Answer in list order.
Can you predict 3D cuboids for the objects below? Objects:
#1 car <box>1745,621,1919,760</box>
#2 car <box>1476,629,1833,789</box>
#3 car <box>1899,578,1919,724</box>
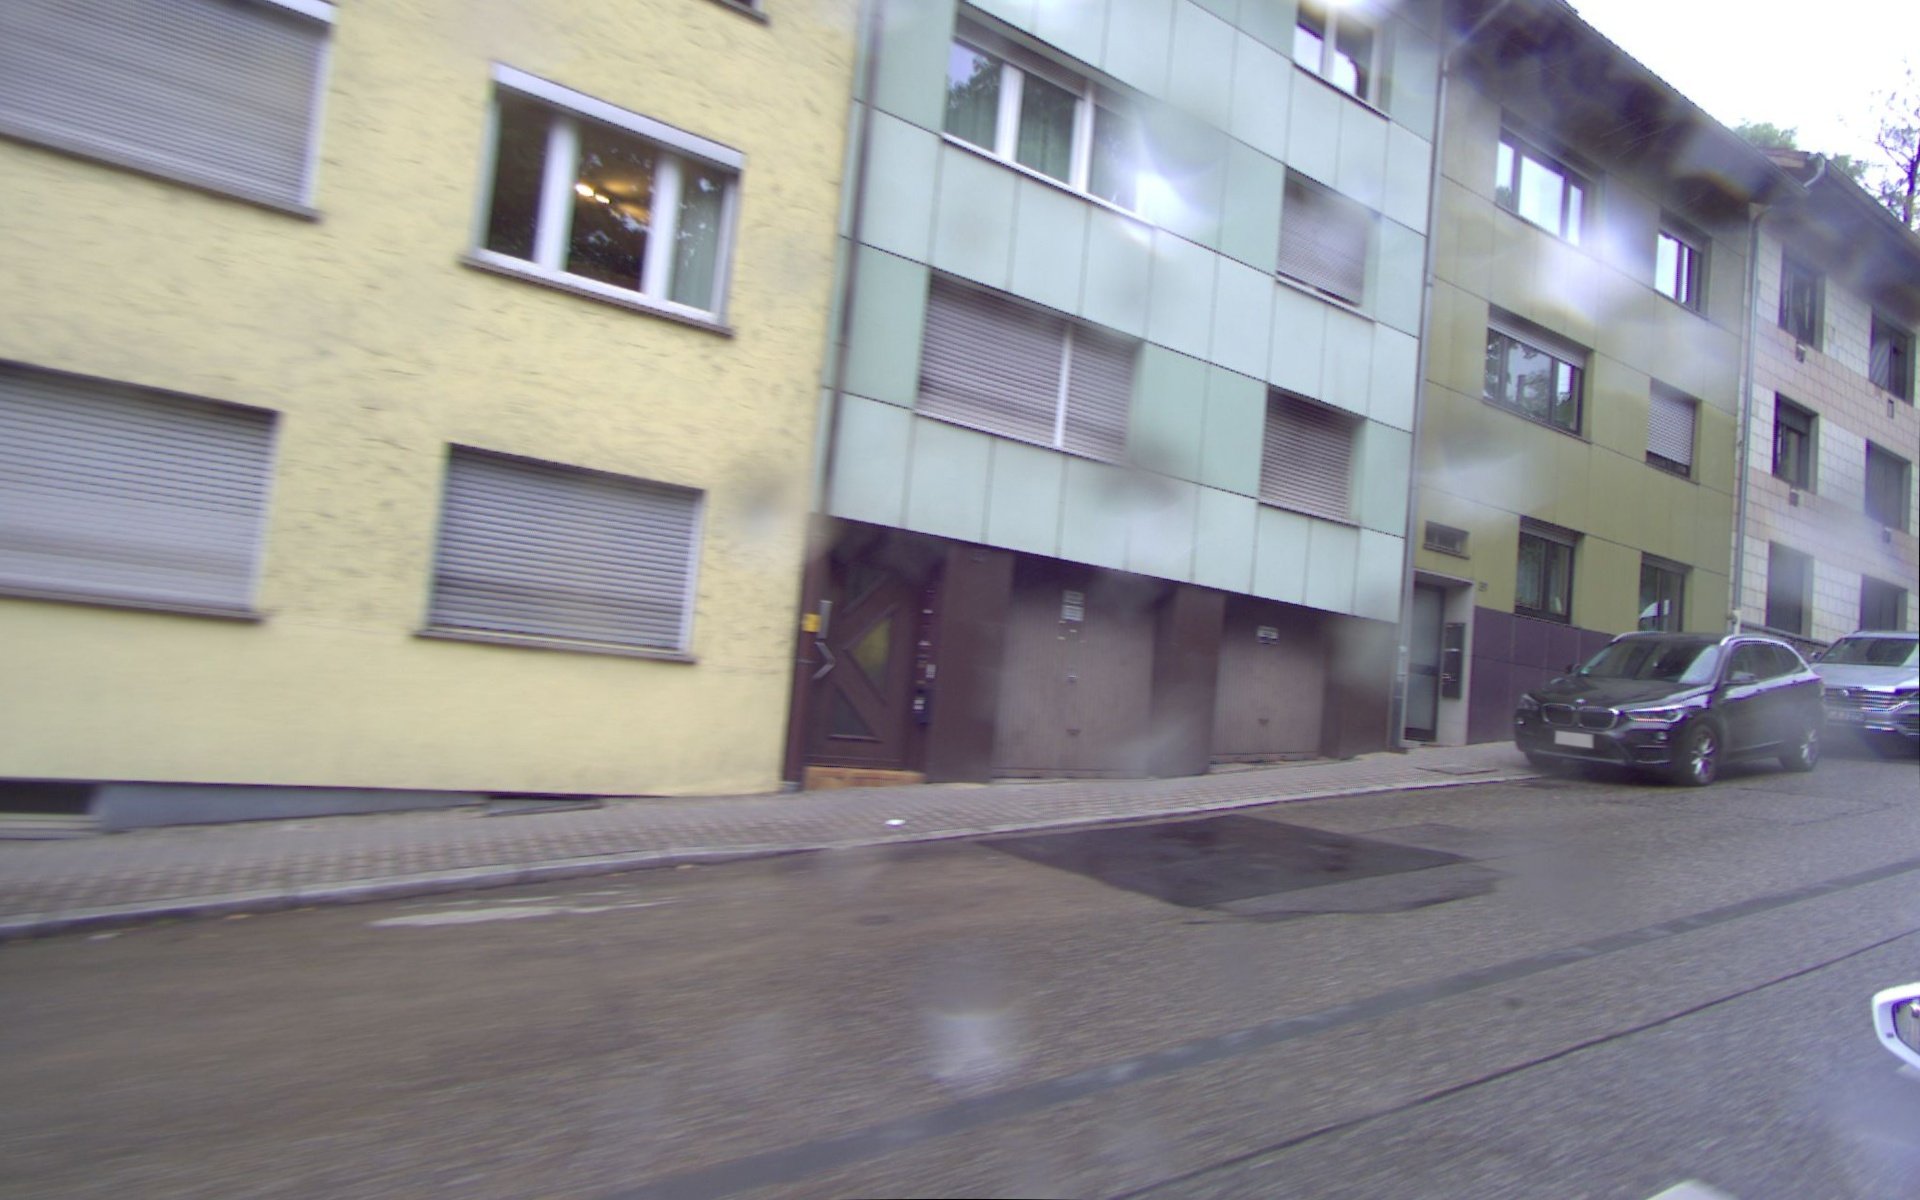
[{"bbox_3d":[13.735,1.227,14.815,4.429,1.778,1.980,2,-2,-31],"label":"car"},{"bbox_3d":[8.379,1.165,12.058,4.256,1.606,1.980,2,-2,-31],"label":"car"},{"bbox_3d":[19.257,0.920,18.081,5.719,2.507,1.980,2,-2,-32],"label":"car"}]
